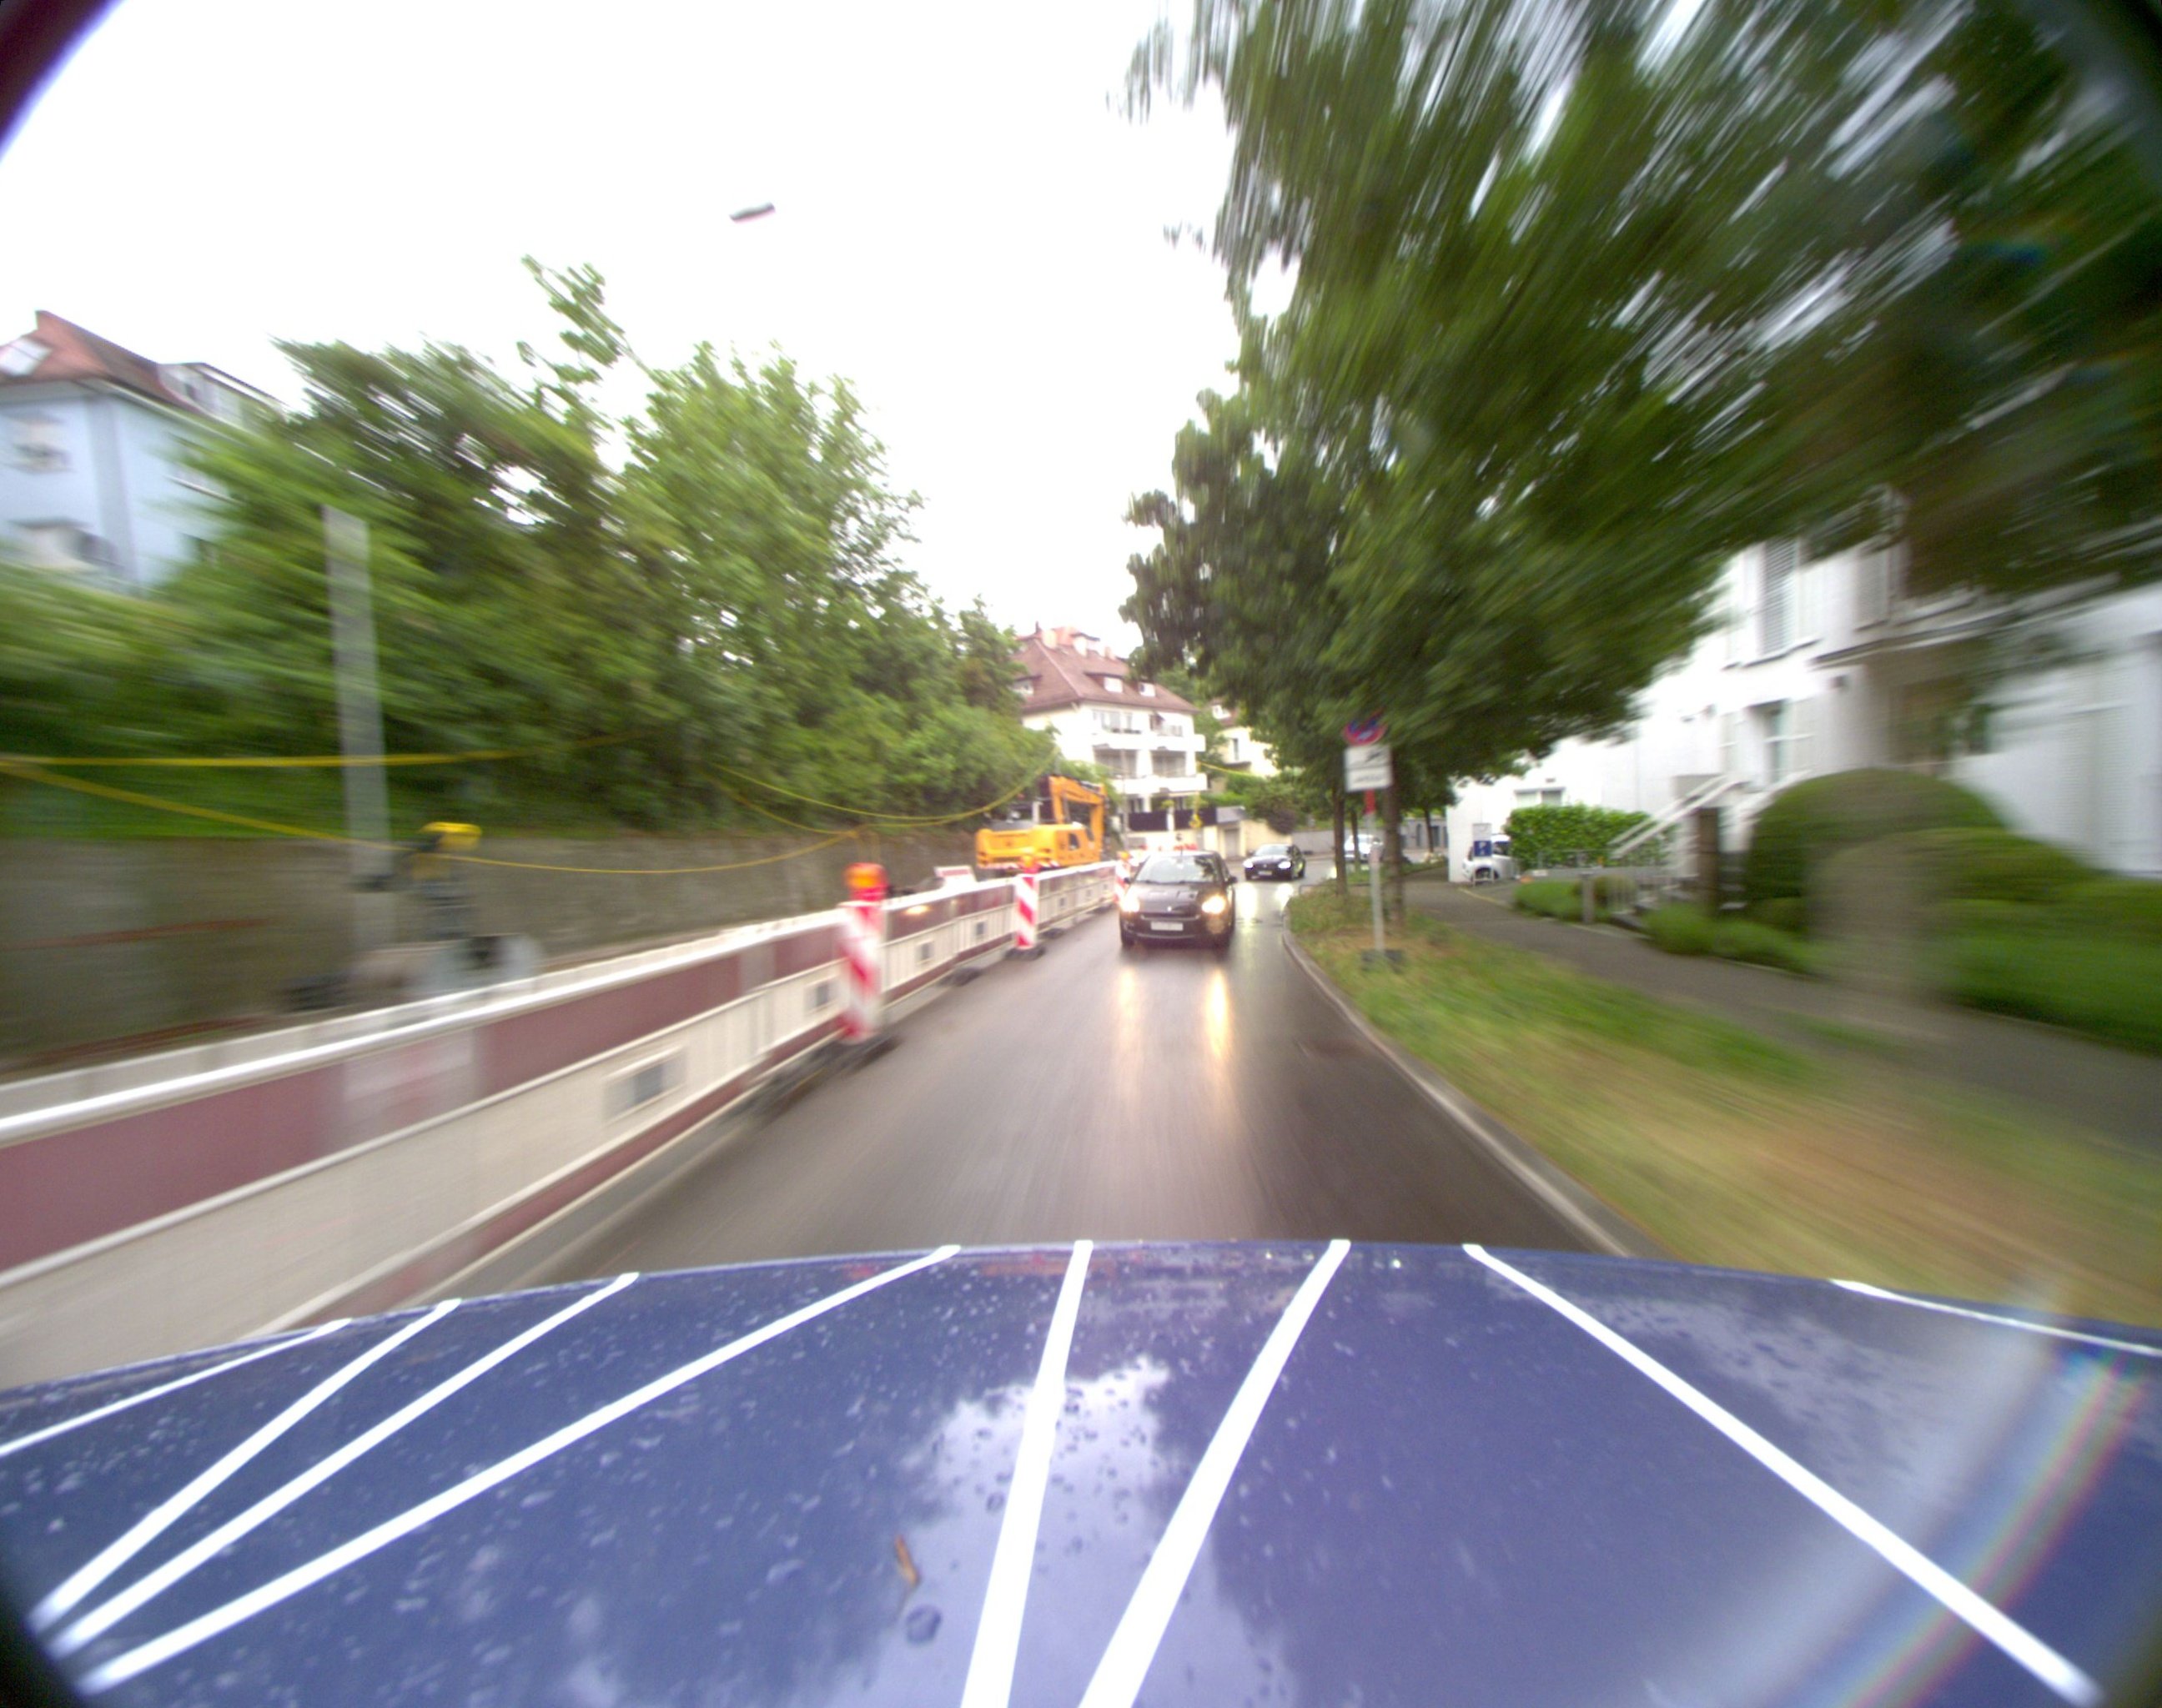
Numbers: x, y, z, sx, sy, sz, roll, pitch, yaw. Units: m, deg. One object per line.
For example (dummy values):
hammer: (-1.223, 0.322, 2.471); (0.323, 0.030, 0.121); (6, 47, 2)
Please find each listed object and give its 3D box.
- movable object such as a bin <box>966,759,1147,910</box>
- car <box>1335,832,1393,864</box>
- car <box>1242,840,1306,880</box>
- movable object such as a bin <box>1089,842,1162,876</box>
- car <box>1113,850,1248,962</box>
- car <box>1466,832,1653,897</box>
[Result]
movable object such as a bin: (-0.425, -0.610, 23.922); (2.822, 3.992, 7.337); (0, 2, 23)
car: (16.869, -0.411, 45.226); (2.008, 1.653, 4.453); (3, 5, 37)
car: (7.861, 0.202, 30.758); (1.804, 1.480, 4.023); (-1, 1, 24)
movable object such as a bin: (2.212, 0.199, 37.077); (1.995, 1.511, 4.007); (-1, 1, 29)
car: (1.779, 0.731, 12.623); (1.576, 1.444, 3.590); (-1, 2, 18)
car: (12.498, 0.226, 20.186); (3.990, 1.552, 1.752); (0, 3, 25)
